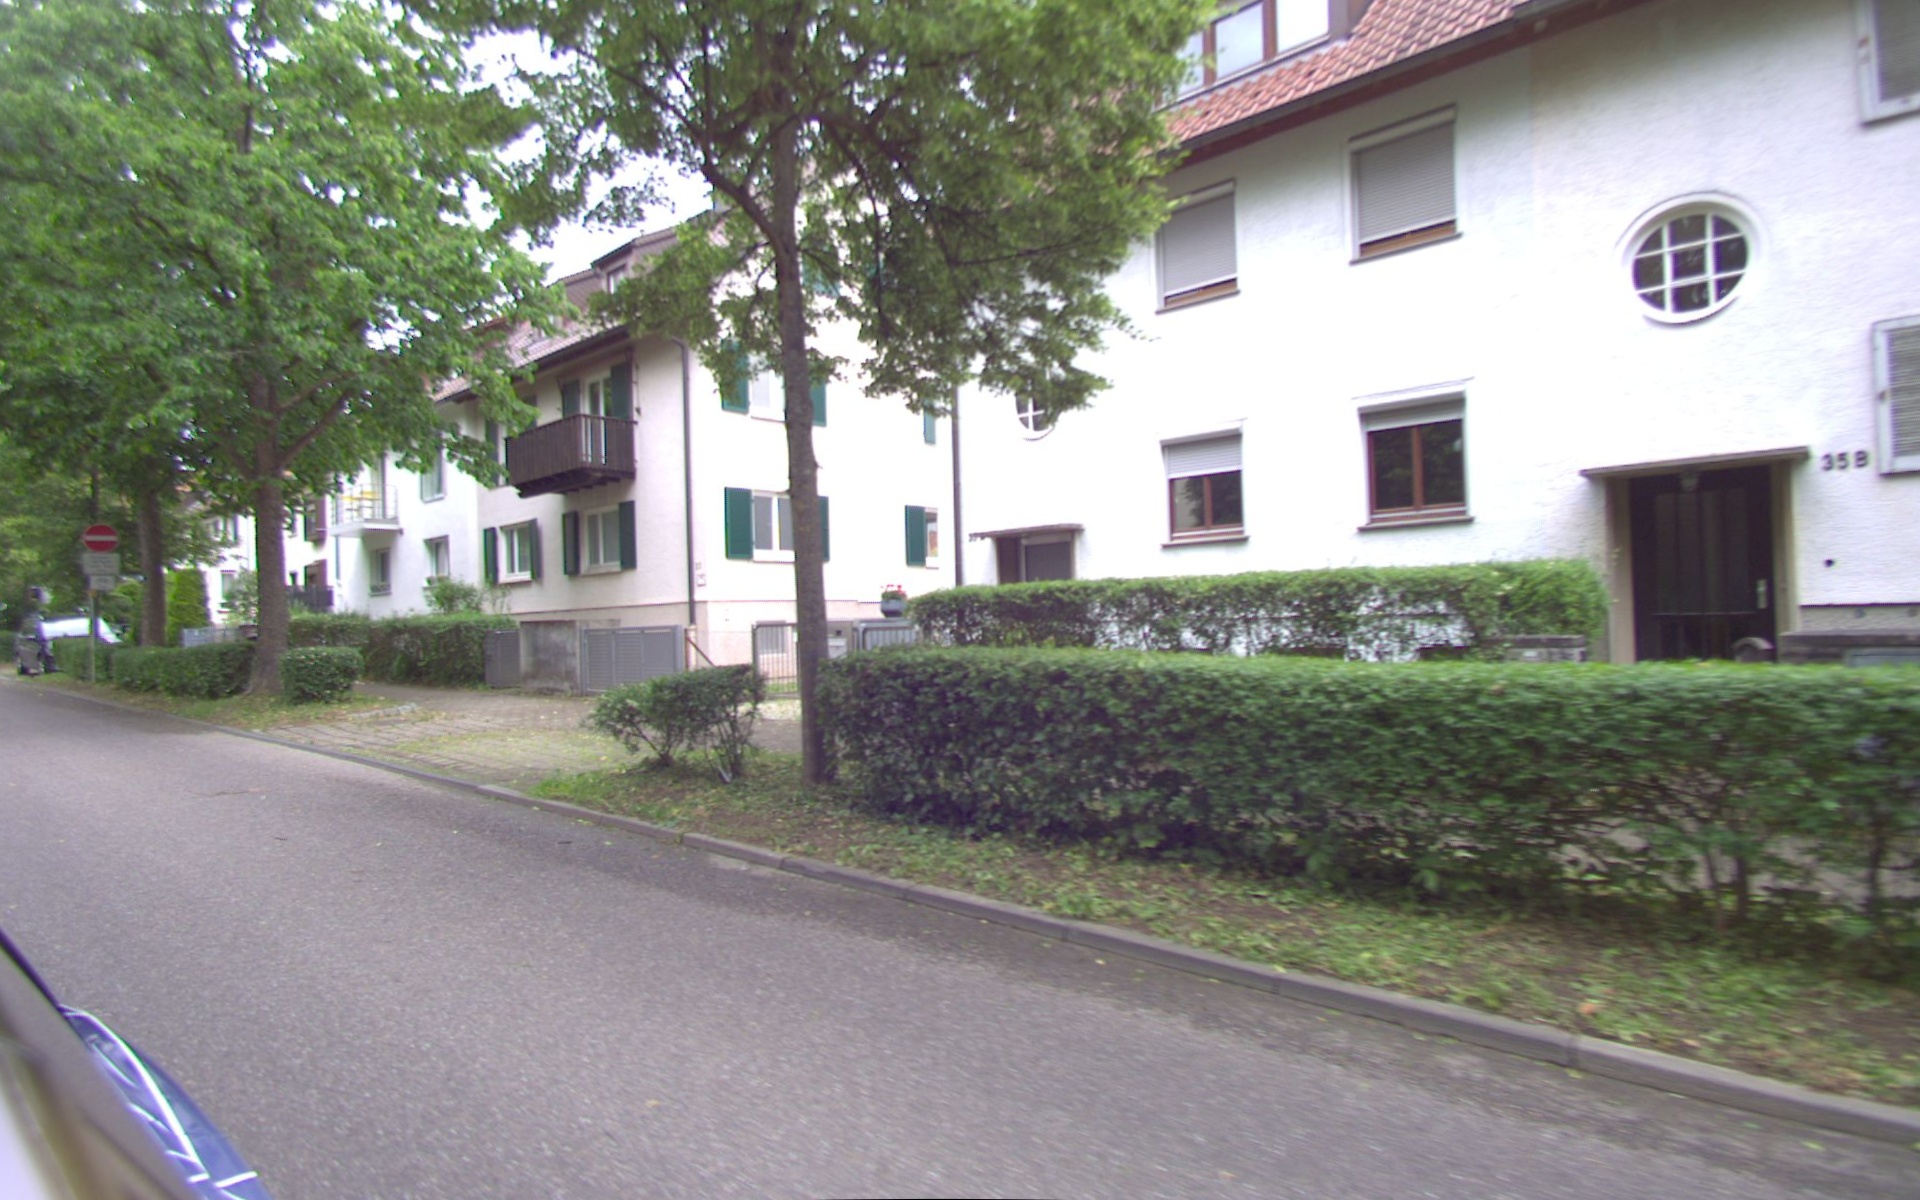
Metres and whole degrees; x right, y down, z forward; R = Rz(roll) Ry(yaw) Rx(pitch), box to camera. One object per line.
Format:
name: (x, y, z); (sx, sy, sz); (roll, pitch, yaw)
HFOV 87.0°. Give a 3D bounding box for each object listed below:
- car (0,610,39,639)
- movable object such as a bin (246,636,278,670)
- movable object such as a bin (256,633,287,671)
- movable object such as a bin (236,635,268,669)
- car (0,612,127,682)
car: (-78.634, 1.978, 81.625); (1.960, 2.365, 6.333); (-1, -1, 17)
movable object such as a bin: (-19.717, 1.487, 28.590); (0.639, 0.947, 0.554); (-1, -2, 35)
movable object such as a bin: (-19.183, 1.438, 28.195); (0.600, 1.033, 0.554); (-1, -2, 35)
movable object such as a bin: (-20.283, 1.494, 28.985); (0.639, 0.947, 0.554); (-1, -2, 35)
car: (-24.708, 1.253, 27.820); (4.446, 1.767, 1.808); (-2, -1, 37)
